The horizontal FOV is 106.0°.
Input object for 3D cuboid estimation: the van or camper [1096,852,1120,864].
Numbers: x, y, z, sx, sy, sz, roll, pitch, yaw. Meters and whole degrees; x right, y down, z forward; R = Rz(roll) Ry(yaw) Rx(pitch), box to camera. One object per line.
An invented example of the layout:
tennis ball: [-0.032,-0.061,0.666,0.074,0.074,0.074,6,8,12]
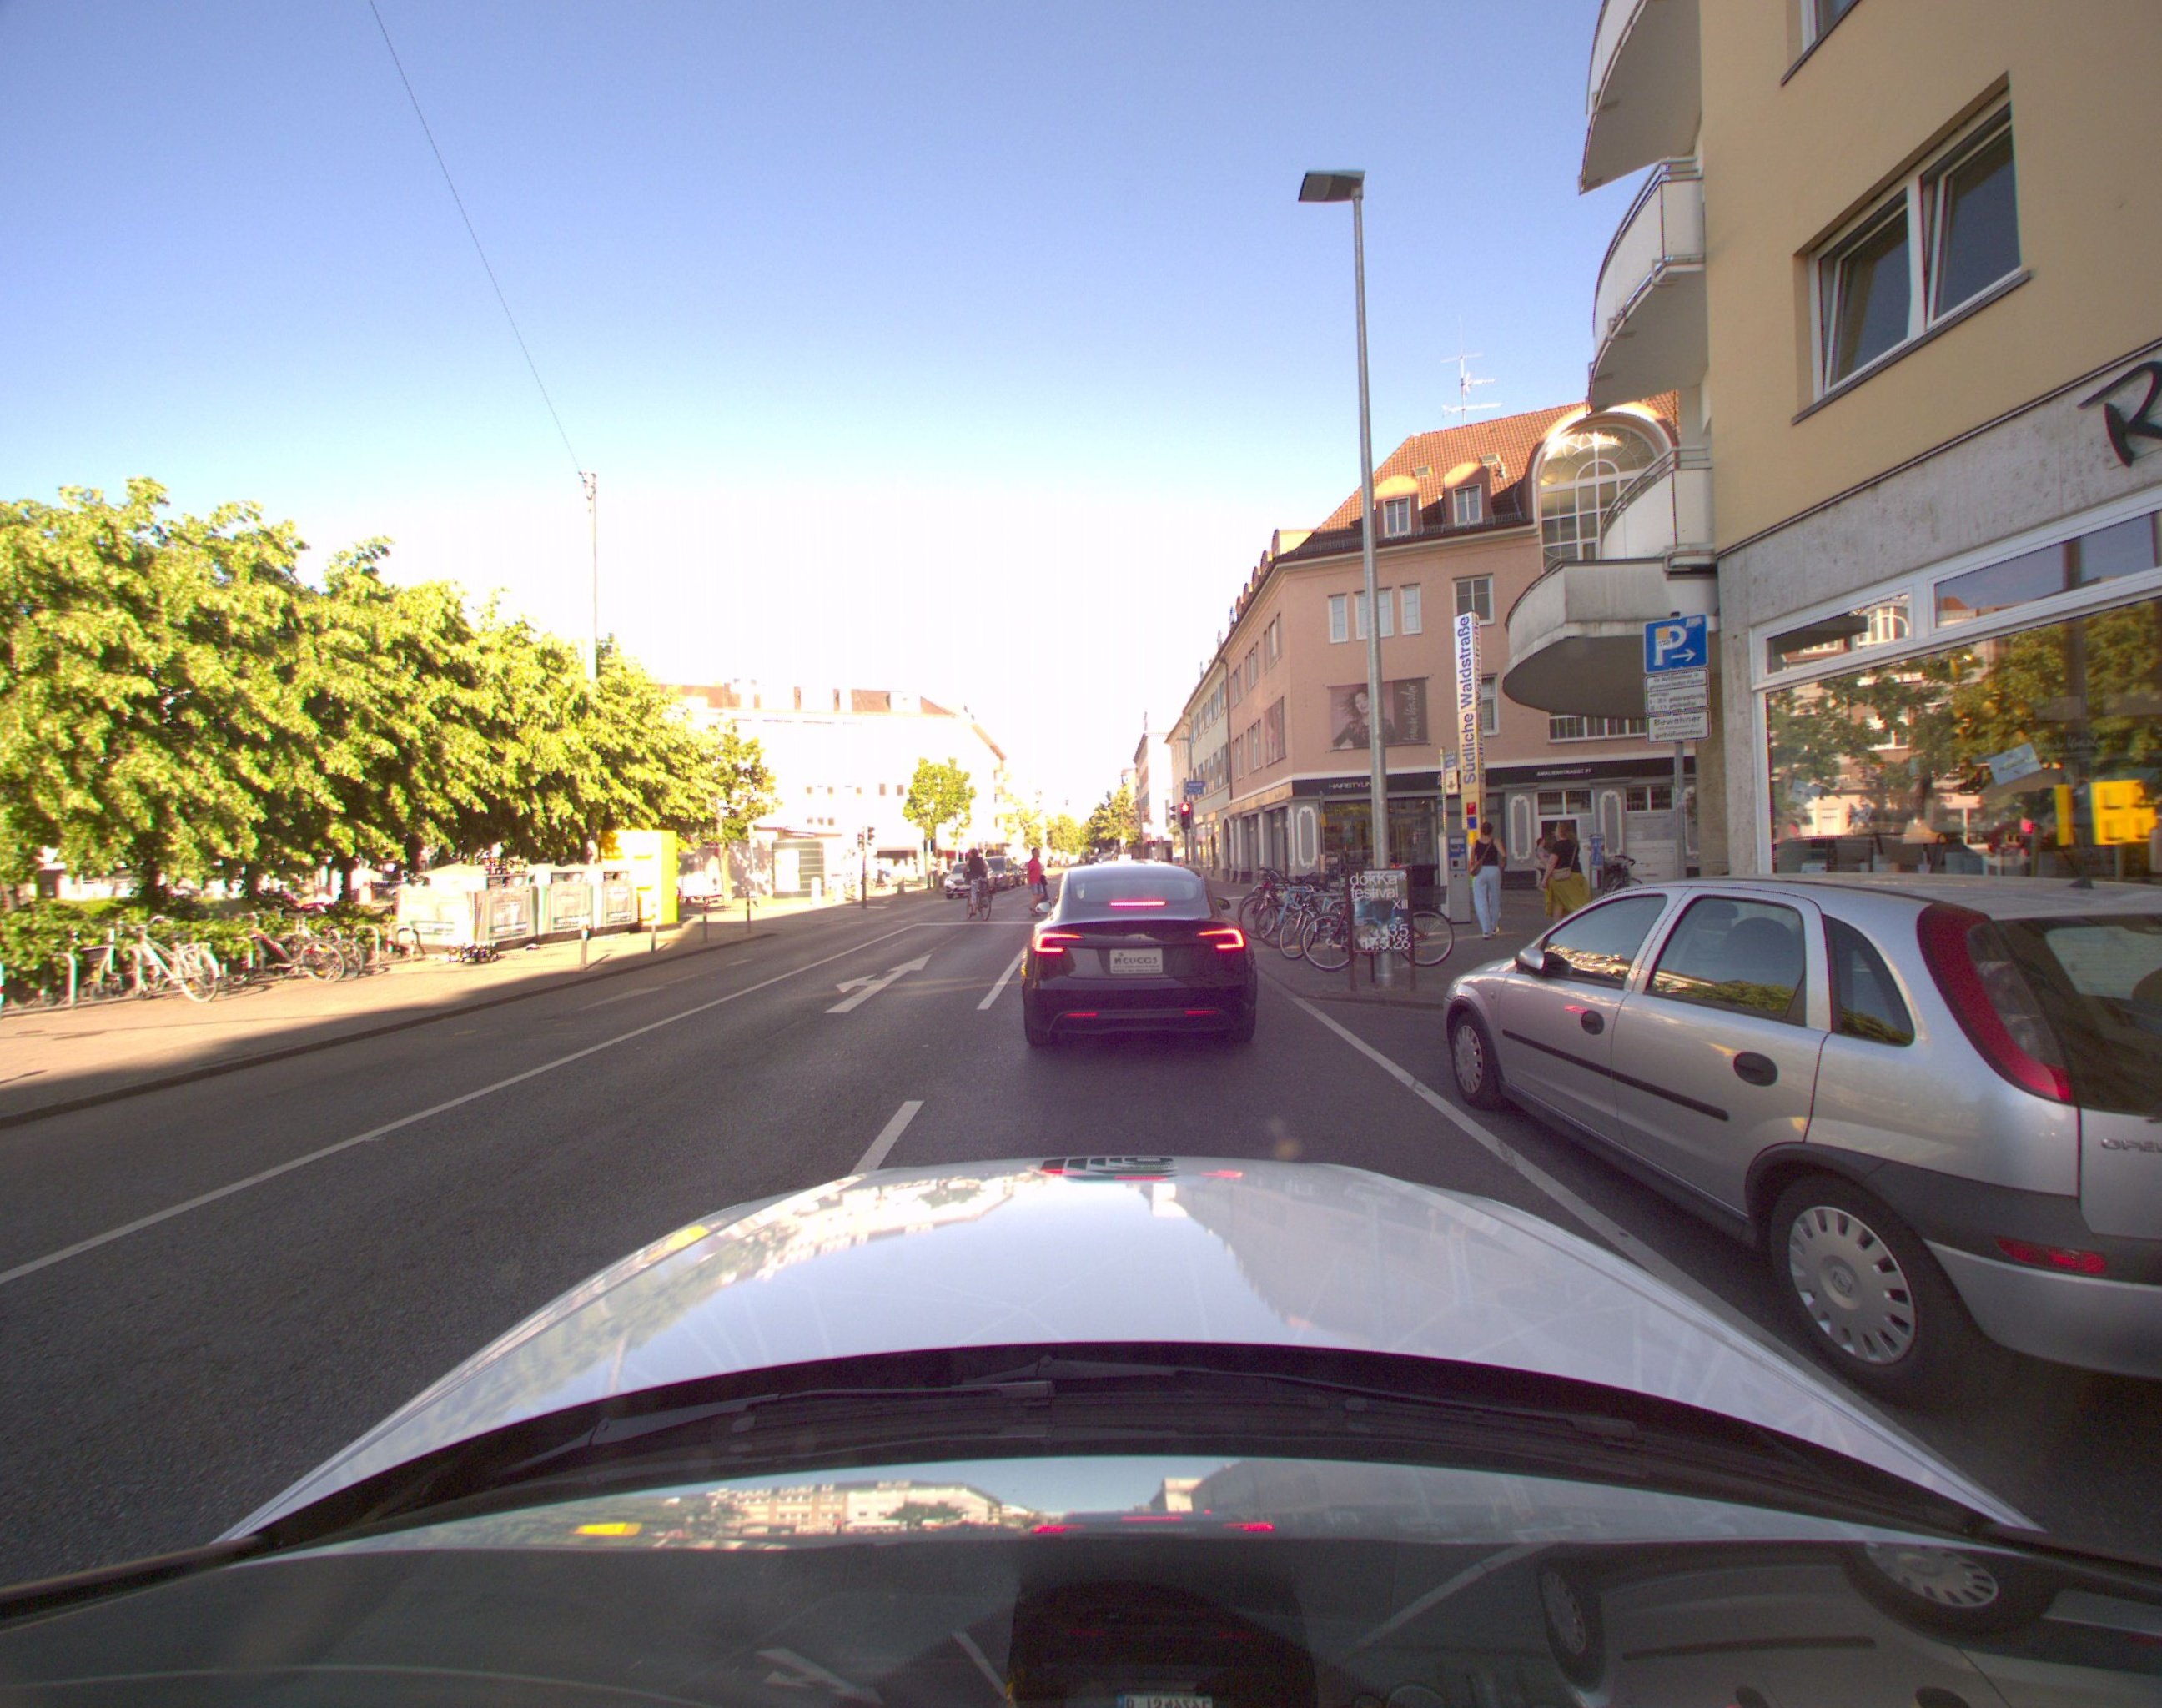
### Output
van or camper: [5.629,0.856,167.664,4.833,2.438,1.851,-1,0,1]

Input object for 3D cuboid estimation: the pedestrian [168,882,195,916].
pedestrian: [-40.483,2.022,36.657,0.553,1.508,0.611,-1,-1,17]

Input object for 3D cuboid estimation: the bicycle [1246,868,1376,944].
bicycle: [3.520,0.792,12.570,1.806,1.102,0.653,-1,0,3]

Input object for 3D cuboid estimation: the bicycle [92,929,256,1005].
bicycle: [-11.460,1.418,10.309,1.560,0.886,0.470,0,-1,1]

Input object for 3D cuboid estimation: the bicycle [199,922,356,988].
bicycle: [-11.425,1.424,11.606,1.667,0.859,0.469,0,-1,-5]

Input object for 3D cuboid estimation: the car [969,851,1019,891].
car: [-4.496,0.836,42.924,1.938,1.947,4.822,-1,0,2]

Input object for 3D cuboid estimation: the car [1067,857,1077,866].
car: [-2.004,1.781,187.432,2.124,1.970,4.135,-1,0,2]

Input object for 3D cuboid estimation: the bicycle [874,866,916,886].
bicycle: [-12.000,1.402,52.580,2.535,1.251,0.942,0,-1,-1]

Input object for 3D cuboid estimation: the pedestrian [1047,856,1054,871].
pedestrian: [-3.781,1.143,101.201,0.773,1.868,1.006,0,-1,-7]

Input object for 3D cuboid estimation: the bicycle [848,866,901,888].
bicycle: [-12.155,1.365,47.986,2.867,1.270,0.942,0,-1,-1]

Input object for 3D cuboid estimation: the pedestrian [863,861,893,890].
pedestrian: [-11.743,1.231,47.054,1.252,1.611,1.101,-1,-1,19]

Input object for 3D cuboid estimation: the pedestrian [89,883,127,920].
pedestrian: [-42.087,2.043,35.229,0.928,1.520,0.924,0,-1,-43]

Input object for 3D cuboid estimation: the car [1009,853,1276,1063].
car: [0.497,0.739,7.886,1.843,1.447,4.453,0,0,2]

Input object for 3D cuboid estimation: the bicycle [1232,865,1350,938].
bicycle: [3.498,0.776,13.646,1.806,1.152,0.653,-1,0,3]

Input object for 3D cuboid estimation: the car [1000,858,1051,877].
car: [-5.498,1.339,80.955,4.718,1.430,1.722,-5,-1,-22]

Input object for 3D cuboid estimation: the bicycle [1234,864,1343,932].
bicycle: [3.738,0.784,14.775,1.806,1.152,0.653,-1,0,3]

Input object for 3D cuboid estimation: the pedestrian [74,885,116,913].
pedestrian: [-44.359,2.020,36.641,0.926,1.214,0.873,-1,-1,17]

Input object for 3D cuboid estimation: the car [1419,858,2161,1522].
car: [2.962,0.739,3.550,1.578,1.426,3.581,0,-1,2]

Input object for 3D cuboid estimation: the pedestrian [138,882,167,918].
pedestrian: [-40.880,2.013,35.874,0.827,1.520,0.782,-1,-1,38]

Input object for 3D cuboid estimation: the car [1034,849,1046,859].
car: [-9.025,-0.009,180.141,2.266,2.014,4.720,0,-1,3]

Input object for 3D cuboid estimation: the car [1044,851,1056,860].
car: [-7.170,0.294,188.736,2.266,2.014,4.720,0,-1,3]

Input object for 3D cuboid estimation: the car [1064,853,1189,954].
car: [0.743,0.750,14.310,1.843,1.482,4.453,0,0,2]

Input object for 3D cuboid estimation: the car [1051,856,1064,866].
car: [-4.864,1.326,166.811,2.405,1.970,4.679,-1,0,2]

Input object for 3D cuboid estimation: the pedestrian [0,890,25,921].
pedestrian: [-65.256,3.117,49.289,1.305,1.842,1.090,0,-1,-34]

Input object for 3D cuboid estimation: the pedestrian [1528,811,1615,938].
pedestrian: [7.154,0.292,11.924,0.717,1.754,0.789,-4,-1,6]

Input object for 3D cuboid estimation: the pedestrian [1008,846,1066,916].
pedestrian: [-1.129,0.678,20.962,1.099,1.719,1.068,-1,-1,25]

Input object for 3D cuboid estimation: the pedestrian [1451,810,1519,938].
pedestrian: [6.171,0.293,12.477,0.675,1.849,0.898,-5,-1,19]

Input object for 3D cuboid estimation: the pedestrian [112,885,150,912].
pedestrian: [-44.150,2.051,37.867,0.857,1.214,0.905,-1,-1,21]

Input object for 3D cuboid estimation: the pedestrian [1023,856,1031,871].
pedestrian: [-6.468,1.133,97.549,0.734,1.868,0.787,0,-1,-15]

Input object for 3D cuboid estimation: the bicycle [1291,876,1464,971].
bicycle: [3.637,0.846,10.086,1.875,1.044,0.653,-2,0,2]

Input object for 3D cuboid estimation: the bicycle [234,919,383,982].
bicycle: [-11.460,1.426,12.105,1.663,0.859,0.469,0,-1,-5]

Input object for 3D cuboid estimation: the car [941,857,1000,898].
car: [-4.884,1.017,36.601,1.818,1.565,4.302,-5,-1,2]

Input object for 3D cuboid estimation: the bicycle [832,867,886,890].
bicycle: [-12.394,1.372,45.591,2.772,1.274,0.933,0,-1,-2]

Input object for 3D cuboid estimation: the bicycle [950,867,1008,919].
bicycle: [-2.572,0.972,20.308,0.632,1.223,1.980,-1,-2,-32]

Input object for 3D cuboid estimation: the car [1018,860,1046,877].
car: [-4.076,1.214,68.187,1.685,1.390,3.923,0,-1,6]

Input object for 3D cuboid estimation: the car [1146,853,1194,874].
car: [8.145,0.875,74.653,4.006,1.867,1.686,-1,0,-20]

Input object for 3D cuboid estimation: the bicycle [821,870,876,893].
bicycle: [-12.326,1.440,43.247,2.652,1.195,0.942,0,-1,-1]

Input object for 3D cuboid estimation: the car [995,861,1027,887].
car: [-4.258,1.206,50.050,1.455,1.430,3.607,-5,-1,2]

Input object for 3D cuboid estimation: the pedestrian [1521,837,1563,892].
pedestrian: [13.326,0.294,23.544,0.793,1.549,0.718,0,-1,-25]

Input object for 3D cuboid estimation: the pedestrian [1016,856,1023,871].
pedestrian: [-7.324,1.137,97.259,0.734,1.868,0.787,0,-1,-15]

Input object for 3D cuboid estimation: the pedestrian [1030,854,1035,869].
pedestrian: [-6.218,0.980,104.228,0.693,1.868,0.658,0,-1,-3]

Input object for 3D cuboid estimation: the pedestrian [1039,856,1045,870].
pedestrian: [-4.974,1.182,104.892,0.694,1.868,0.907,0,-1,-7]

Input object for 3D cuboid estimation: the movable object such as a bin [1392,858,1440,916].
movable object such as a bin: [6.746,0.660,16.426,0.633,1.103,0.728,-4,-1,5]

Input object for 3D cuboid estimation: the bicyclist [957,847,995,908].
bicyclist: [-2.642,0.578,20.436,0.610,1.484,0.948,0,-1,-32]

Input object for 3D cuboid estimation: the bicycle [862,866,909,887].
bicycle: [-12.055,1.388,50.304,2.655,1.259,0.942,0,-1,-1]

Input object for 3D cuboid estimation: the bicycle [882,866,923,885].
bicycle: [-12.054,1.422,55.007,2.535,1.251,0.942,0,-1,-1]

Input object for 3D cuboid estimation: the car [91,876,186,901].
car: [-65.206,2.365,56.405,4.128,1.530,1.543,-1,0,-16]

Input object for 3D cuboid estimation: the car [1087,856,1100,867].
car: [2.216,1.282,142.097,2.027,1.788,4.008,-1,0,2]

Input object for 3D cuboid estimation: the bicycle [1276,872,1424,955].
bicycle: [3.657,0.798,11.159,1.806,1.060,0.653,-1,0,3]
